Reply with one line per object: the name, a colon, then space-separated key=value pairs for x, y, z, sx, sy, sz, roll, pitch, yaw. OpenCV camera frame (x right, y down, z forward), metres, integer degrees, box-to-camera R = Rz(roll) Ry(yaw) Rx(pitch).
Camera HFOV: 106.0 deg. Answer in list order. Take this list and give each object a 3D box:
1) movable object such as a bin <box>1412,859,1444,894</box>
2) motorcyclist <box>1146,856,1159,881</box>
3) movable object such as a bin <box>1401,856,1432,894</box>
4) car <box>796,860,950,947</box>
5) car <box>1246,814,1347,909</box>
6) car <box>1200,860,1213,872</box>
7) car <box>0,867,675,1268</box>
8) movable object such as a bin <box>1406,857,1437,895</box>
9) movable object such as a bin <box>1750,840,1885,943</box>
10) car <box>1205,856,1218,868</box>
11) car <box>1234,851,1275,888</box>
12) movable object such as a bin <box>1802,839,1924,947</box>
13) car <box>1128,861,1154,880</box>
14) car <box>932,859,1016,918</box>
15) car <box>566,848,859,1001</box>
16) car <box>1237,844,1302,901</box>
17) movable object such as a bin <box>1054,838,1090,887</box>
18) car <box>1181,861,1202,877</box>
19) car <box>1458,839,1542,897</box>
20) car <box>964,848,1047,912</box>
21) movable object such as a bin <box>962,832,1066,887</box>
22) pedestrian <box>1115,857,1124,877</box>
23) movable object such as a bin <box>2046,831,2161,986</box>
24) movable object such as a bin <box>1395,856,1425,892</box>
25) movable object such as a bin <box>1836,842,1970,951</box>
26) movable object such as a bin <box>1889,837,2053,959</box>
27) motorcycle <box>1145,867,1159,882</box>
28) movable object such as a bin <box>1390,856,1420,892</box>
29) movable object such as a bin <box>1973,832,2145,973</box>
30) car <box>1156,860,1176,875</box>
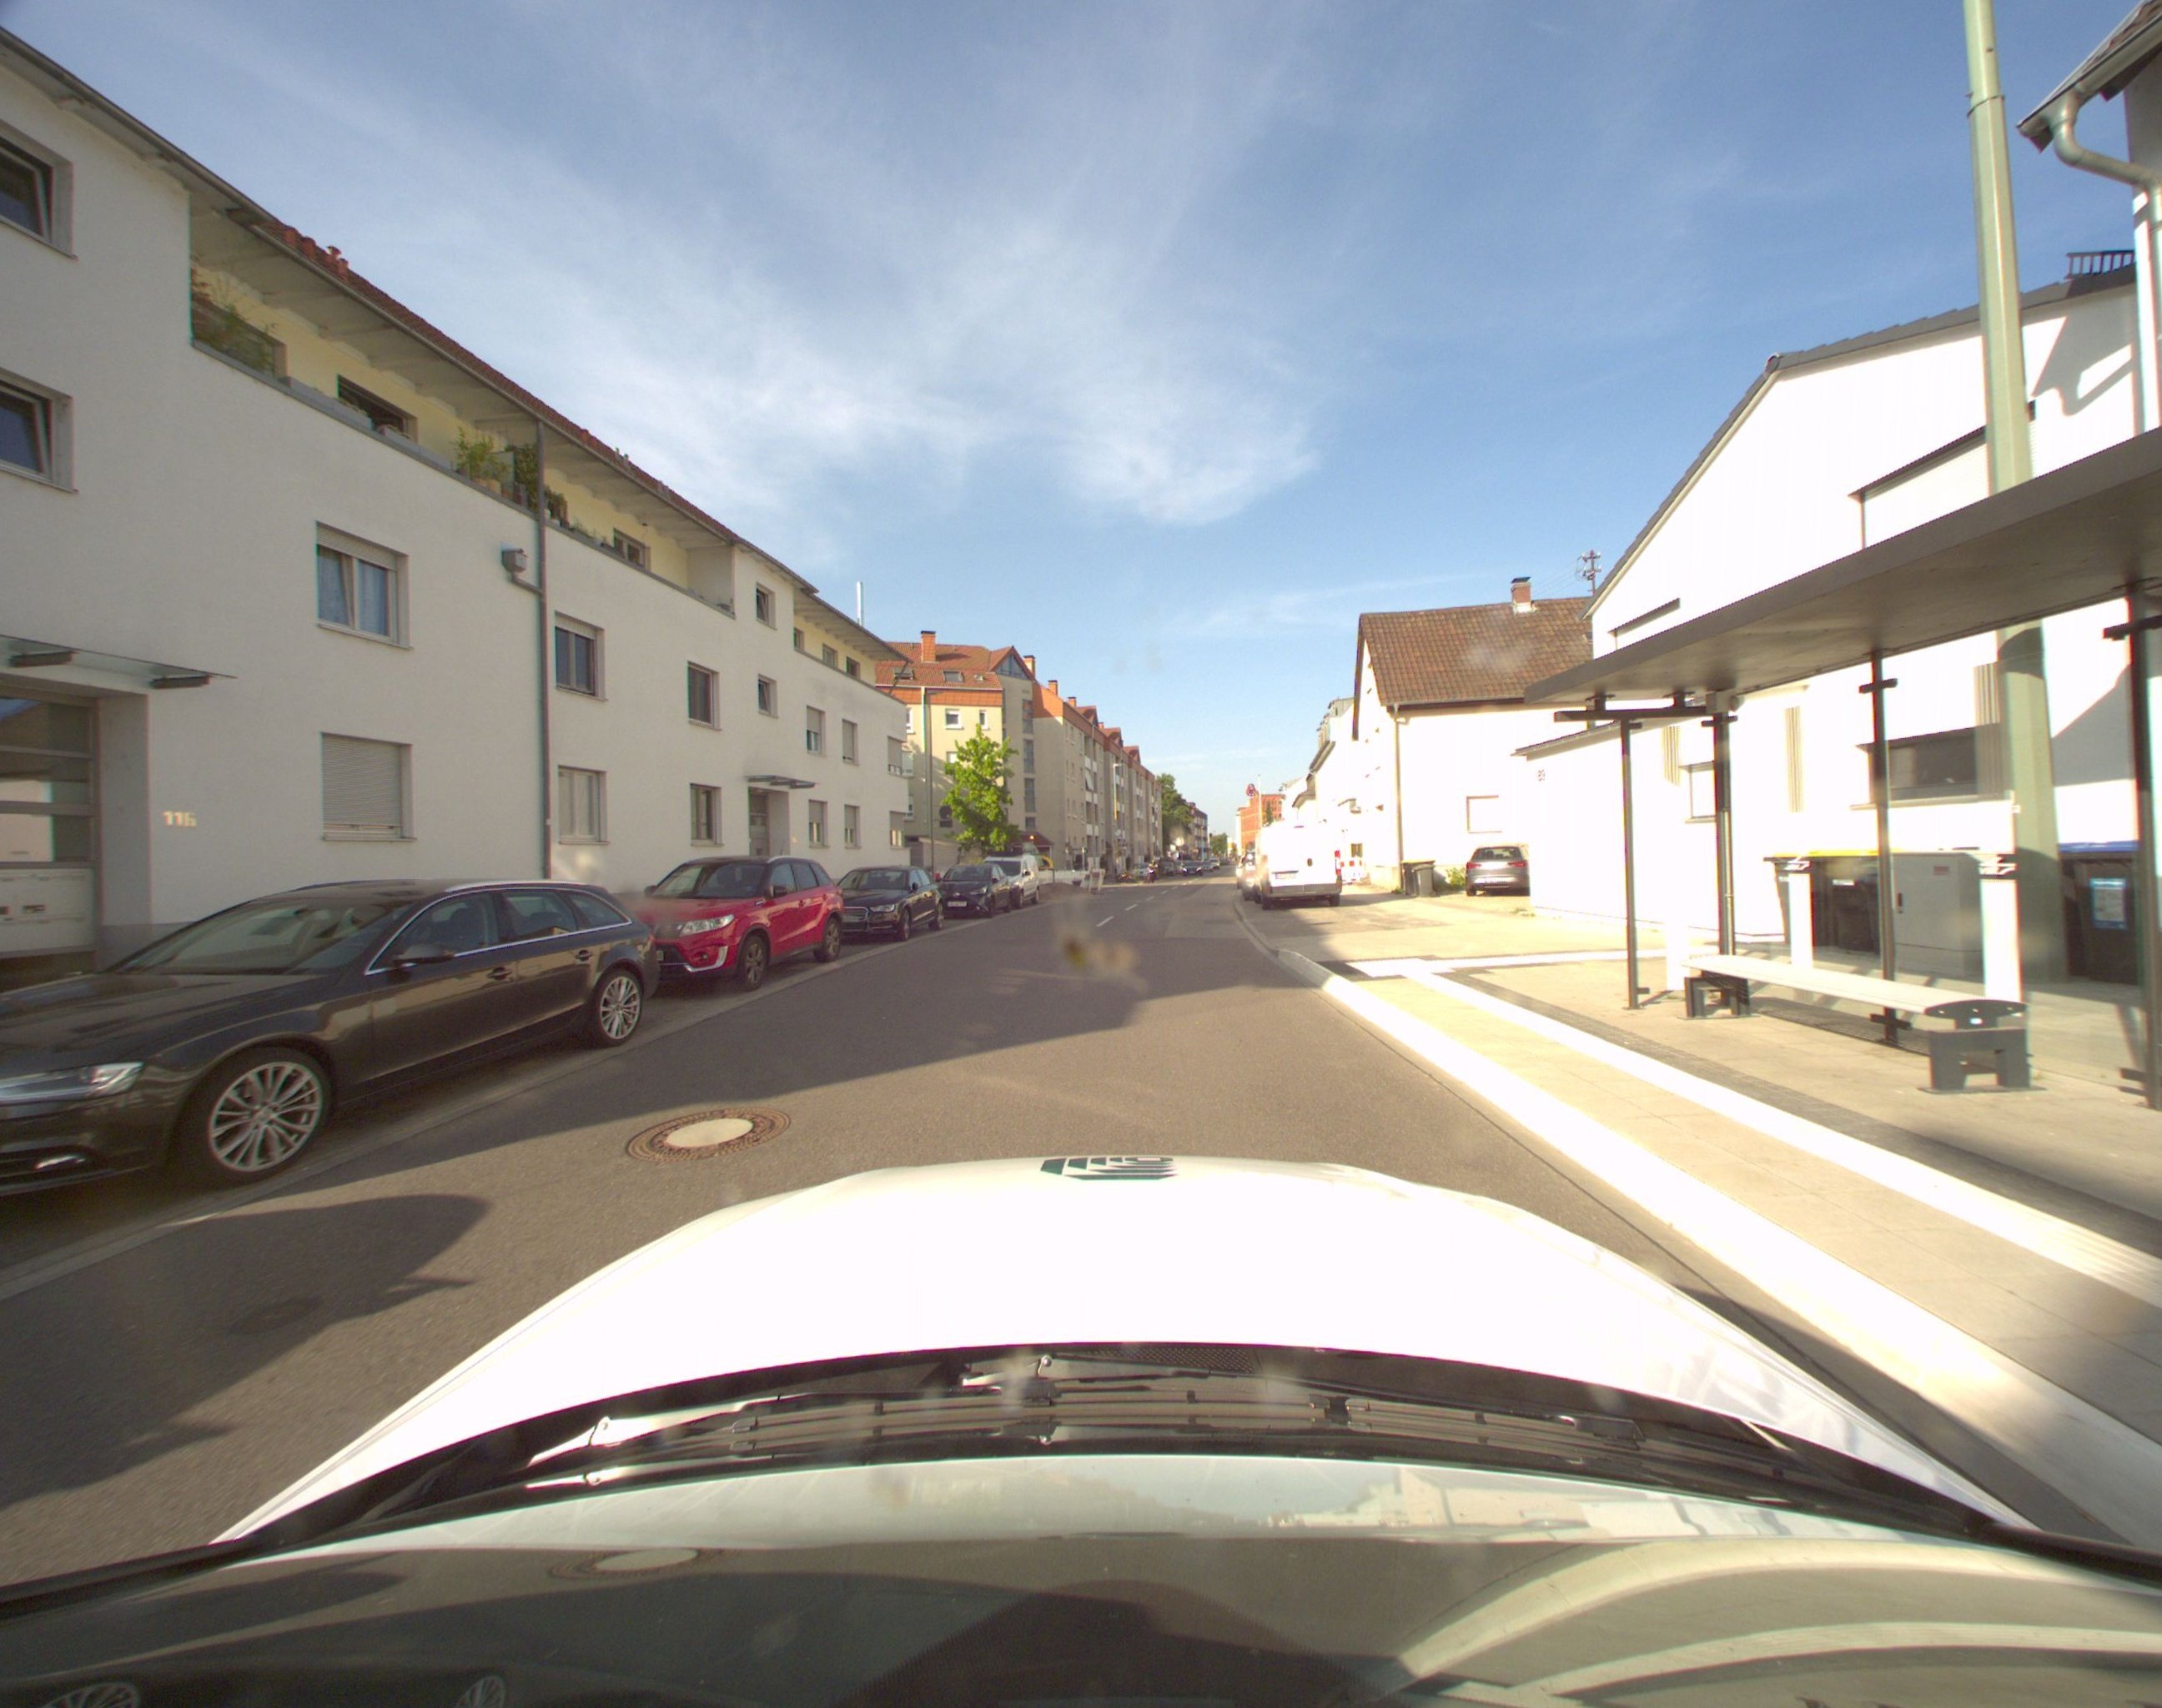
movable object such as a bin: x=9.871 y=0.628 z=23.177 sx=0.723 sy=0.959 sz=0.555 roll=-1 pitch=-1 yaw=9
motorcyclist: x=4.887 y=0.969 z=55.594 sx=0.764 sy=1.652 sz=0.845 roll=-1 pitch=0 yaw=8
movable object such as a bin: x=10.074 y=0.632 z=24.466 sx=0.723 sy=1.132 sz=0.555 roll=-1 pitch=-1 yaw=9
car: x=-4.004 y=0.895 z=16.444 sx=1.719 sy=1.478 sz=4.268 roll=-1 pitch=0 yaw=4
car: x=5.990 y=0.198 z=23.230 sx=2.162 sy=2.327 sz=5.010 roll=-3 pitch=0 yaw=9
car: x=16.312 y=1.516 z=105.750 sx=1.607 sy=1.455 sz=3.696 roll=-2 pitch=-1 yaw=10
car: x=-4.841 y=0.867 z=5.453 sx=1.719 sy=1.478 sz=4.507 roll=0 pitch=0 yaw=4
movable object such as a bin: x=9.976 y=0.632 z=23.875 sx=0.723 sy=1.093 sz=0.555 roll=-2 pitch=-1 yaw=9
movable object such as a bin: x=8.394 y=0.416 z=9.318 sx=0.808 sy=1.093 sz=0.769 roll=-2 pitch=-1 yaw=4
car: x=20.318 y=1.298 z=126.669 sx=1.910 sy=1.767 sz=4.350 roll=-2 pitch=-1 yaw=10
car: x=8.688 y=0.724 z=40.997 sx=1.800 sy=1.683 sz=4.490 roll=-3 pitch=0 yaw=11
movable object such as a bin: x=8.330 y=0.412 z=8.698 sx=0.808 sy=1.093 sz=0.443 roll=-2 pitch=-1 yaw=4
car: x=4.713 y=1.272 z=63.796 sx=1.630 sy=1.395 sz=3.681 roll=-2 pitch=-1 yaw=10
car: x=-2.904 y=0.903 z=22.703 sx=1.485 sy=1.465 sz=3.520 roll=-1 pitch=0 yaw=7
car: x=-4.598 y=0.764 z=10.986 sx=1.719 sy=1.622 sz=4.268 roll=-2 pitch=0 yaw=4
car: x=6.381 y=0.588 z=28.023 sx=1.767 sy=1.741 sz=4.494 roll=-3 pitch=0 yaw=9
movable object such as a bin: x=-0.546 y=0.547 z=54.155 sx=1.637 sy=3.138 sz=3.911 roll=0 pitch=0 yaw=10
car: x=10.637 y=1.414 z=78.152 sx=1.818 sy=1.420 sz=4.221 roll=-2 pitch=-1 yaw=10
car: x=11.842 y=0.351 z=22.880 sx=1.640 sy=1.407 sz=4.005 roll=-3 pitch=-1 yaw=33
car: x=-2.454 y=0.819 z=27.589 sx=1.717 sy=1.960 sz=4.449 roll=-1 pitch=0 yaw=8
movable object such as a bin: x=-3.628 y=0.281 z=44.409 sx=5.486 sy=2.900 sz=2.109 roll=-1 pitch=0 yaw=-4
pedestrian: x=3.484 y=1.162 z=73.382 sx=0.714 sy=1.818 sz=0.747 roll=-1 pitch=0 yaw=12
movable object such as a bin: x=7.963 y=0.387 z=6.118 sx=0.693 sy=1.093 sz=0.559 roll=-2 pitch=-1 yaw=4
movable object such as a bin: x=10.151 y=0.621 z=25.134 sx=0.723 sy=1.093 sz=0.555 roll=-1 pitch=-1 yaw=9
movable object such as a bin: x=8.293 y=0.422 z=8.238 sx=0.808 sy=1.036 sz=0.471 roll=-2 pitch=-1 yaw=4
movable object such as a bin: x=8.250 y=0.394 z=7.578 sx=0.808 sy=1.059 sz=0.602 roll=-2 pitch=-1 yaw=4
motorcycle: x=4.869 y=1.385 z=55.514 sx=0.764 sy=0.985 sz=2.204 roll=-1 pitch=0 yaw=9
movable object such as a bin: x=10.240 y=0.623 z=25.741 sx=0.723 sy=1.093 sz=0.627 roll=-1 pitch=-1 yaw=9
movable object such as a bin: x=8.083 y=0.385 z=6.759 sx=0.693 sy=1.093 sz=0.559 roll=-2 pitch=-1 yaw=2
car: x=8.523 y=1.311 z=81.535 sx=1.675 sy=1.406 sz=4.096 roll=-1 pitch=0 yaw=11
